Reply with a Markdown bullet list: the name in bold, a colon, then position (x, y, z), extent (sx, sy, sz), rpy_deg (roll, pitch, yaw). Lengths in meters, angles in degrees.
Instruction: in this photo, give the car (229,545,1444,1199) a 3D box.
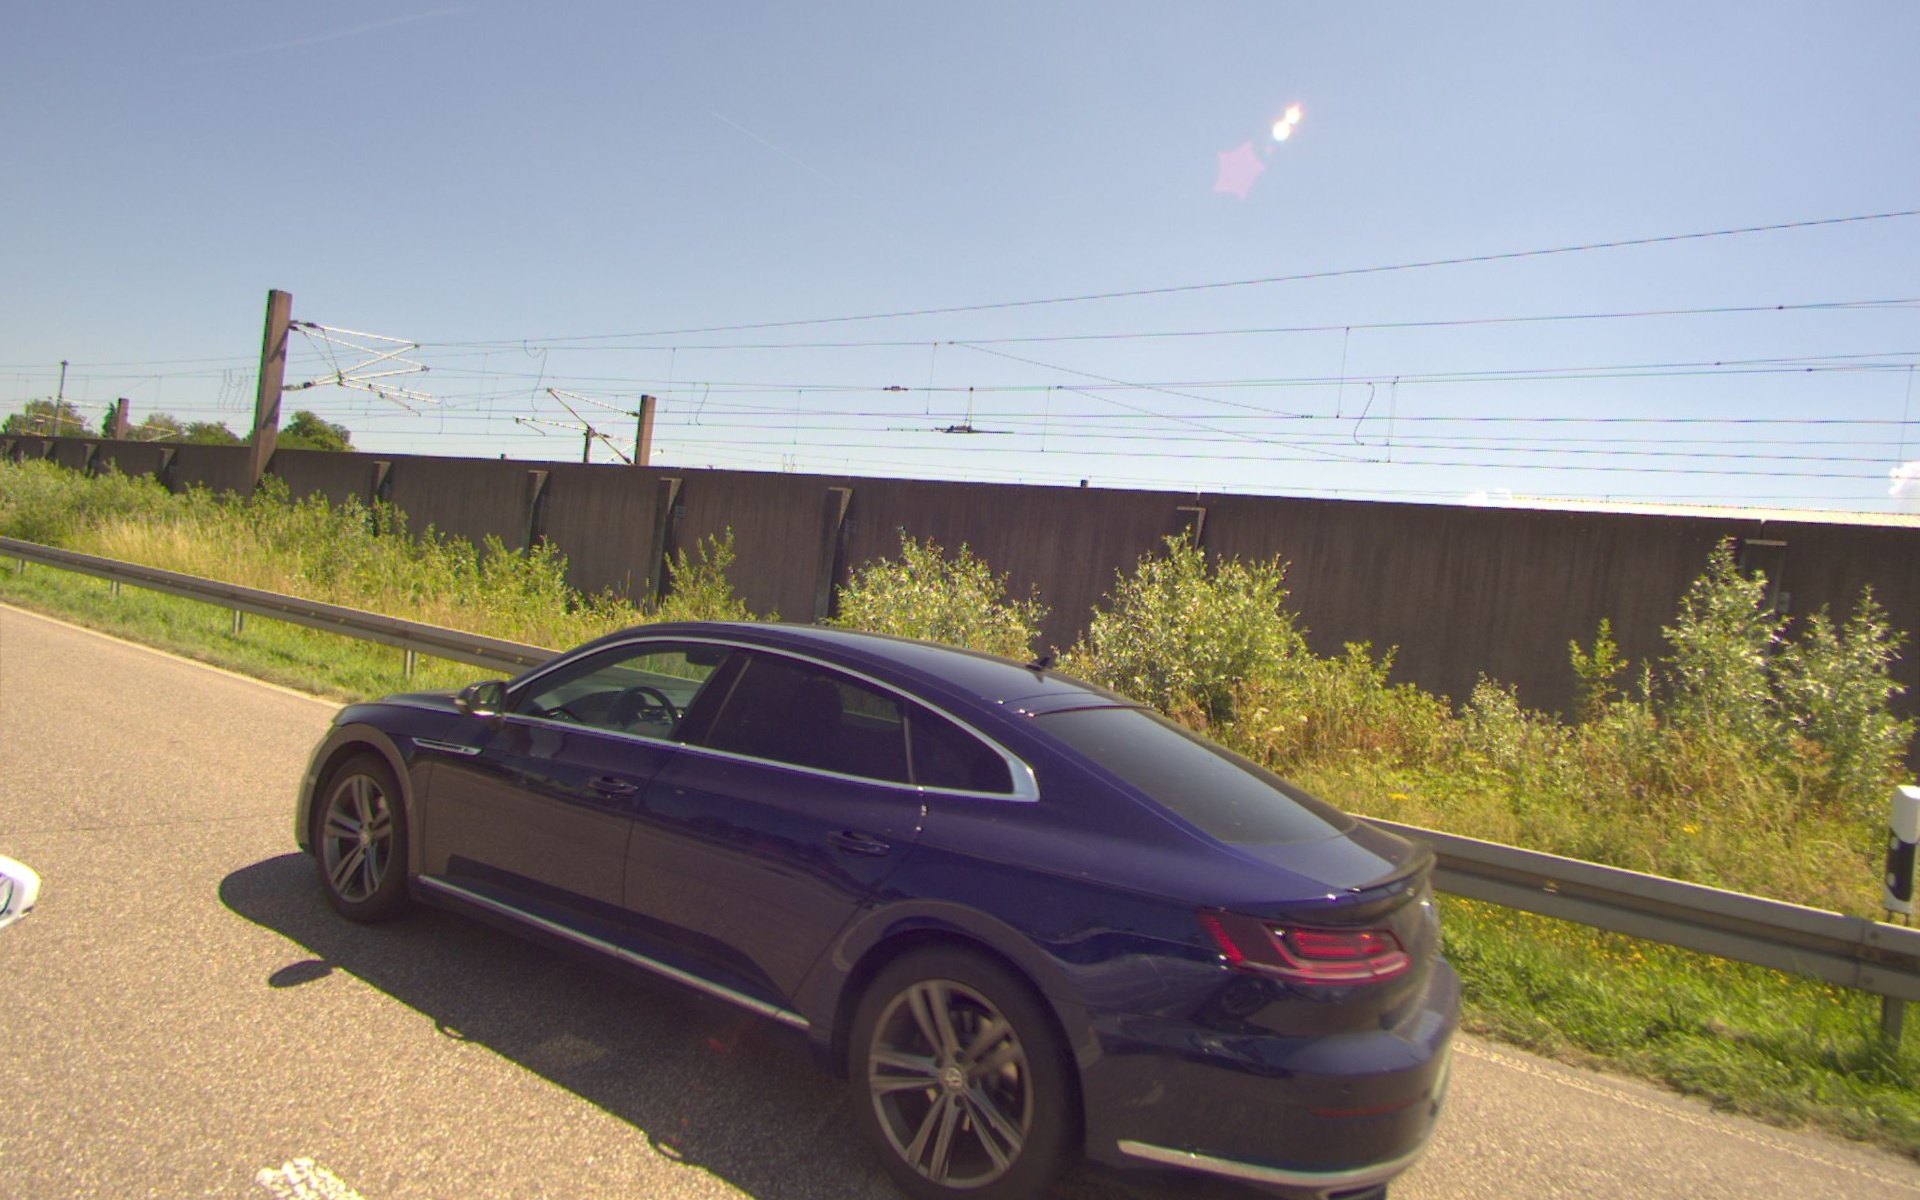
- **car**: position (-0.721, 0.786, 3.942), extent (4.429, 1.395, 1.860), rpy_deg (7, -2, 32)
